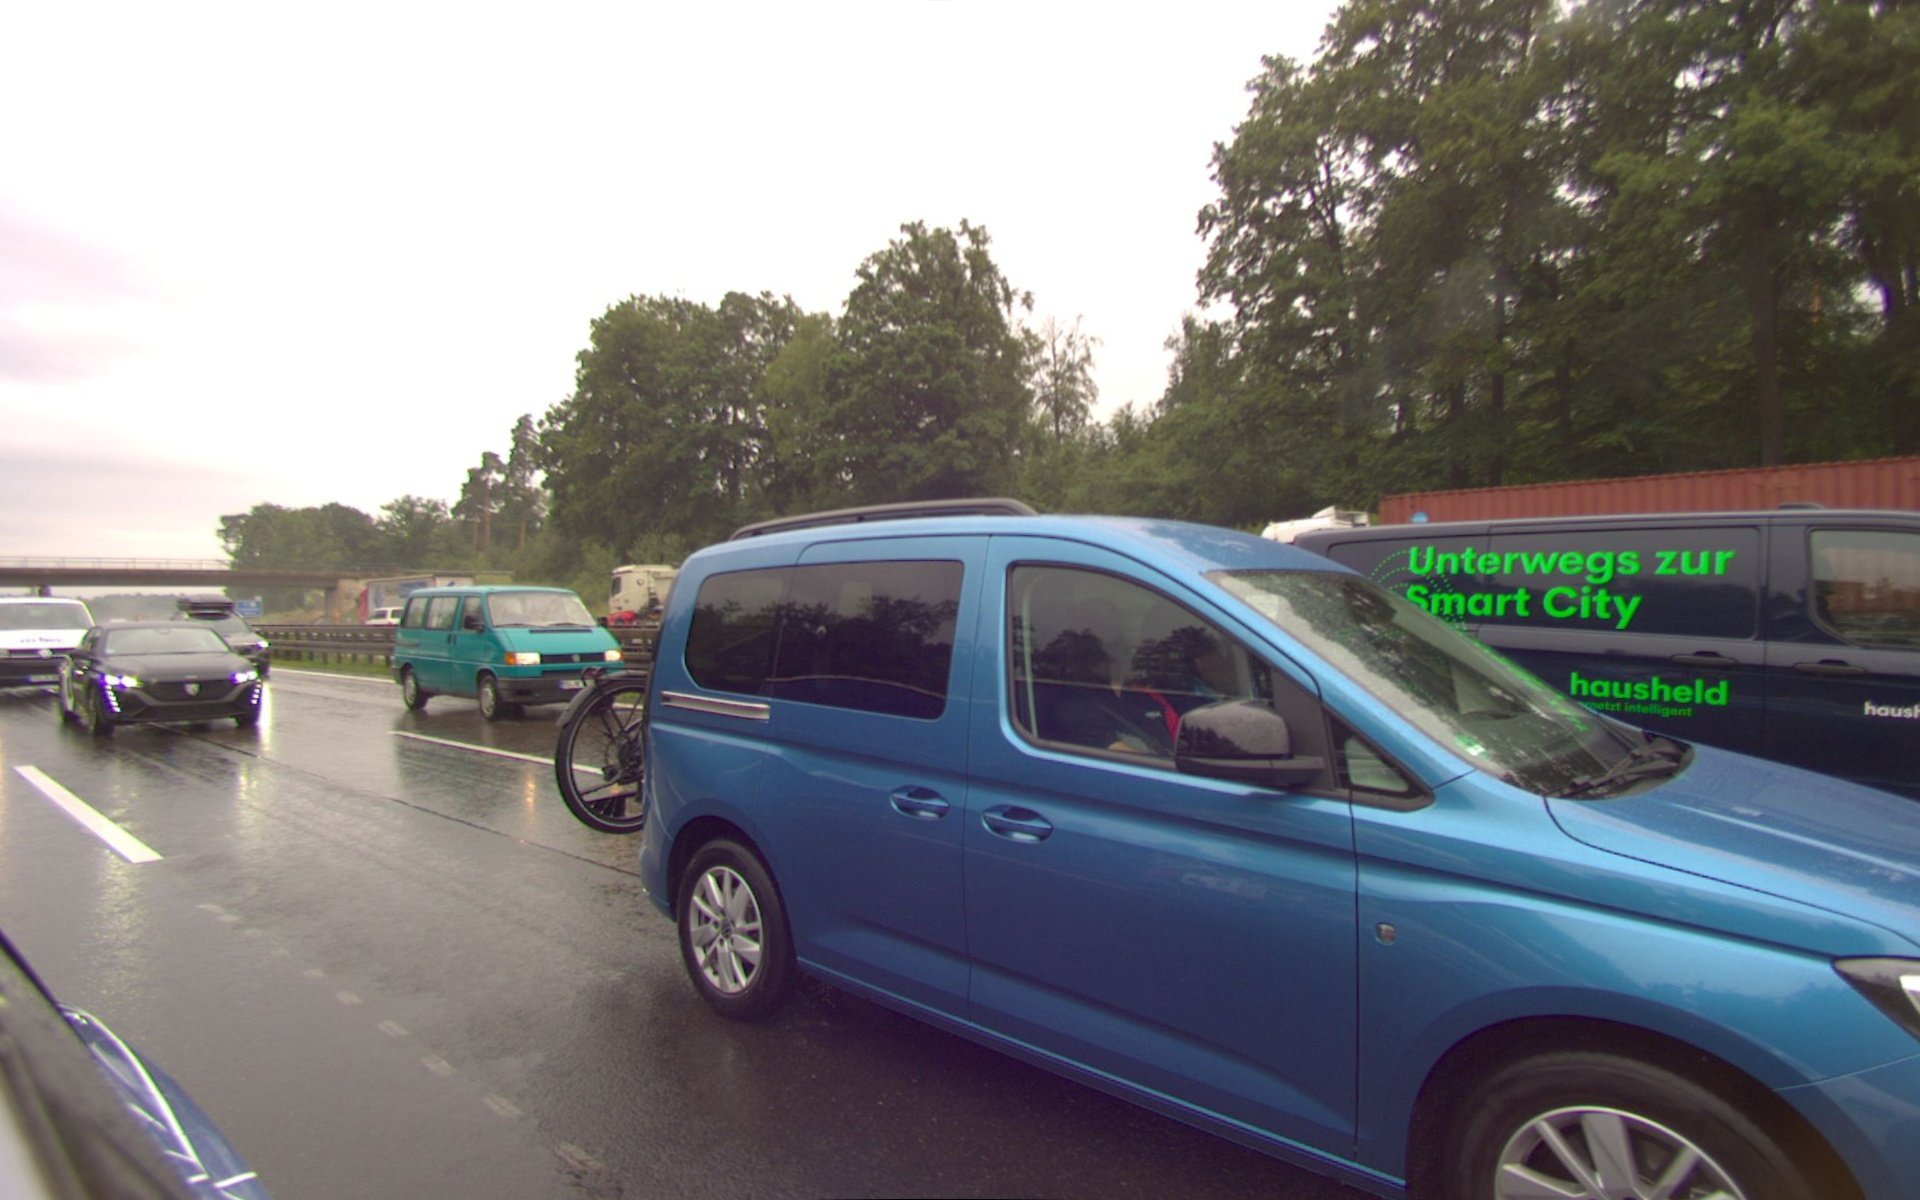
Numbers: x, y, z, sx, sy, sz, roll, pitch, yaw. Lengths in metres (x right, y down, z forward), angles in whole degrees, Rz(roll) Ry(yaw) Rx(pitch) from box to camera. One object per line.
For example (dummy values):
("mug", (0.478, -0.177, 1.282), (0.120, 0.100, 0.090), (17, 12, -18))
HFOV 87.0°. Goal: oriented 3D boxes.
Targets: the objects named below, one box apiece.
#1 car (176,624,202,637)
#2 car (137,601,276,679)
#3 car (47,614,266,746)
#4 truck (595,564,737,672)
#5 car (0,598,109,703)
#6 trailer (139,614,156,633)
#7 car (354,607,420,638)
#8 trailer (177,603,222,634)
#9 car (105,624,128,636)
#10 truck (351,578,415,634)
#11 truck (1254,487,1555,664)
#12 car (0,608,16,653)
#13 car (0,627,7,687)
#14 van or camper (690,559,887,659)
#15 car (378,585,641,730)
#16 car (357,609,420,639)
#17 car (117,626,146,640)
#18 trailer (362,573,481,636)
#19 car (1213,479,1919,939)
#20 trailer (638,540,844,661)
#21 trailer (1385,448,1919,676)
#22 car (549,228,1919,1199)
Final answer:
("car", (-86.003, 3.396, 112.870), (3.755, 1.314, 1.683), (-2, -1, 42))
("car", (-19.649, 0.978, 26.324), (4.604, 1.839, 1.957), (-1, 0, 41))
("car", (-11.207, 0.965, 13.996), (4.468, 1.516, 1.825), (-1, 0, 44))
("truck", (-11.813, 0.713, 40.374), (6.534, 3.984, 2.352), (-1, -2, 41))
("car", (-18.784, 0.967, 20.434), (4.768, 1.894, 1.967), (-2, -1, 44))
("trailer", (-166.963, 4.888, 208.023), (2.648, 3.847, 9.024), (0, -1, -38))
("car", (-35.660, 1.378, 62.938), (5.220, 1.839, 1.957), (-1, 0, 41))
("trailer", (-99.486, 2.415, 132.297), (2.989, 3.847, 13.569), (0, -1, -44))
("car", (-110.734, 3.997, 132.862), (1.970, 1.519, 4.711), (1, -2, -43))
("truck", (-42.411, 0.512, 74.359), (4.890, 3.984, 2.675), (-1, -2, 42))
("truck", (10.854, -0.465, 25.077), (6.260, 3.847, 2.676), (-2, -1, 41))
("car", (-35.536, 1.122, 36.458), (4.767, 1.572, 1.968), (-2, -1, 43))
("car", (-26.239, 1.478, 26.390), (4.468, 1.516, 1.825), (-1, -1, 44))
("van or camper", (-4.963, 0.314, 28.627), (6.117, 2.567, 2.174), (-2, -2, 42))
("car", (-6.983, 0.776, 15.422), (4.758, 1.877, 1.890), (-1, 0, 42))
("car", (-35.493, 1.532, 62.812), (5.038, 1.783, 1.972), (-2, -2, 42))
("car", (-95.450, 3.779, 116.534), (4.707, 1.519, 1.971), (-2, -2, 43))
("trailer", (-37.231, 0.401, 69.612), (13.958, 3.984, 2.690), (-1, -2, 42))
("car", (4.238, 0.465, 5.482), (5.240, 1.958, 1.970), (-1, 0, 41))
("trailer", (-8.289, 0.113, 37.255), (9.418, 3.984, 2.352), (-1, -2, 42))
("trailer", (15.614, -0.638, 20.915), (12.366, 4.056, 2.592), (-1, 0, 41))
("car", (0.777, 0.461, 3.587), (5.016, 1.926, 2.245), (-2, -1, 43))
